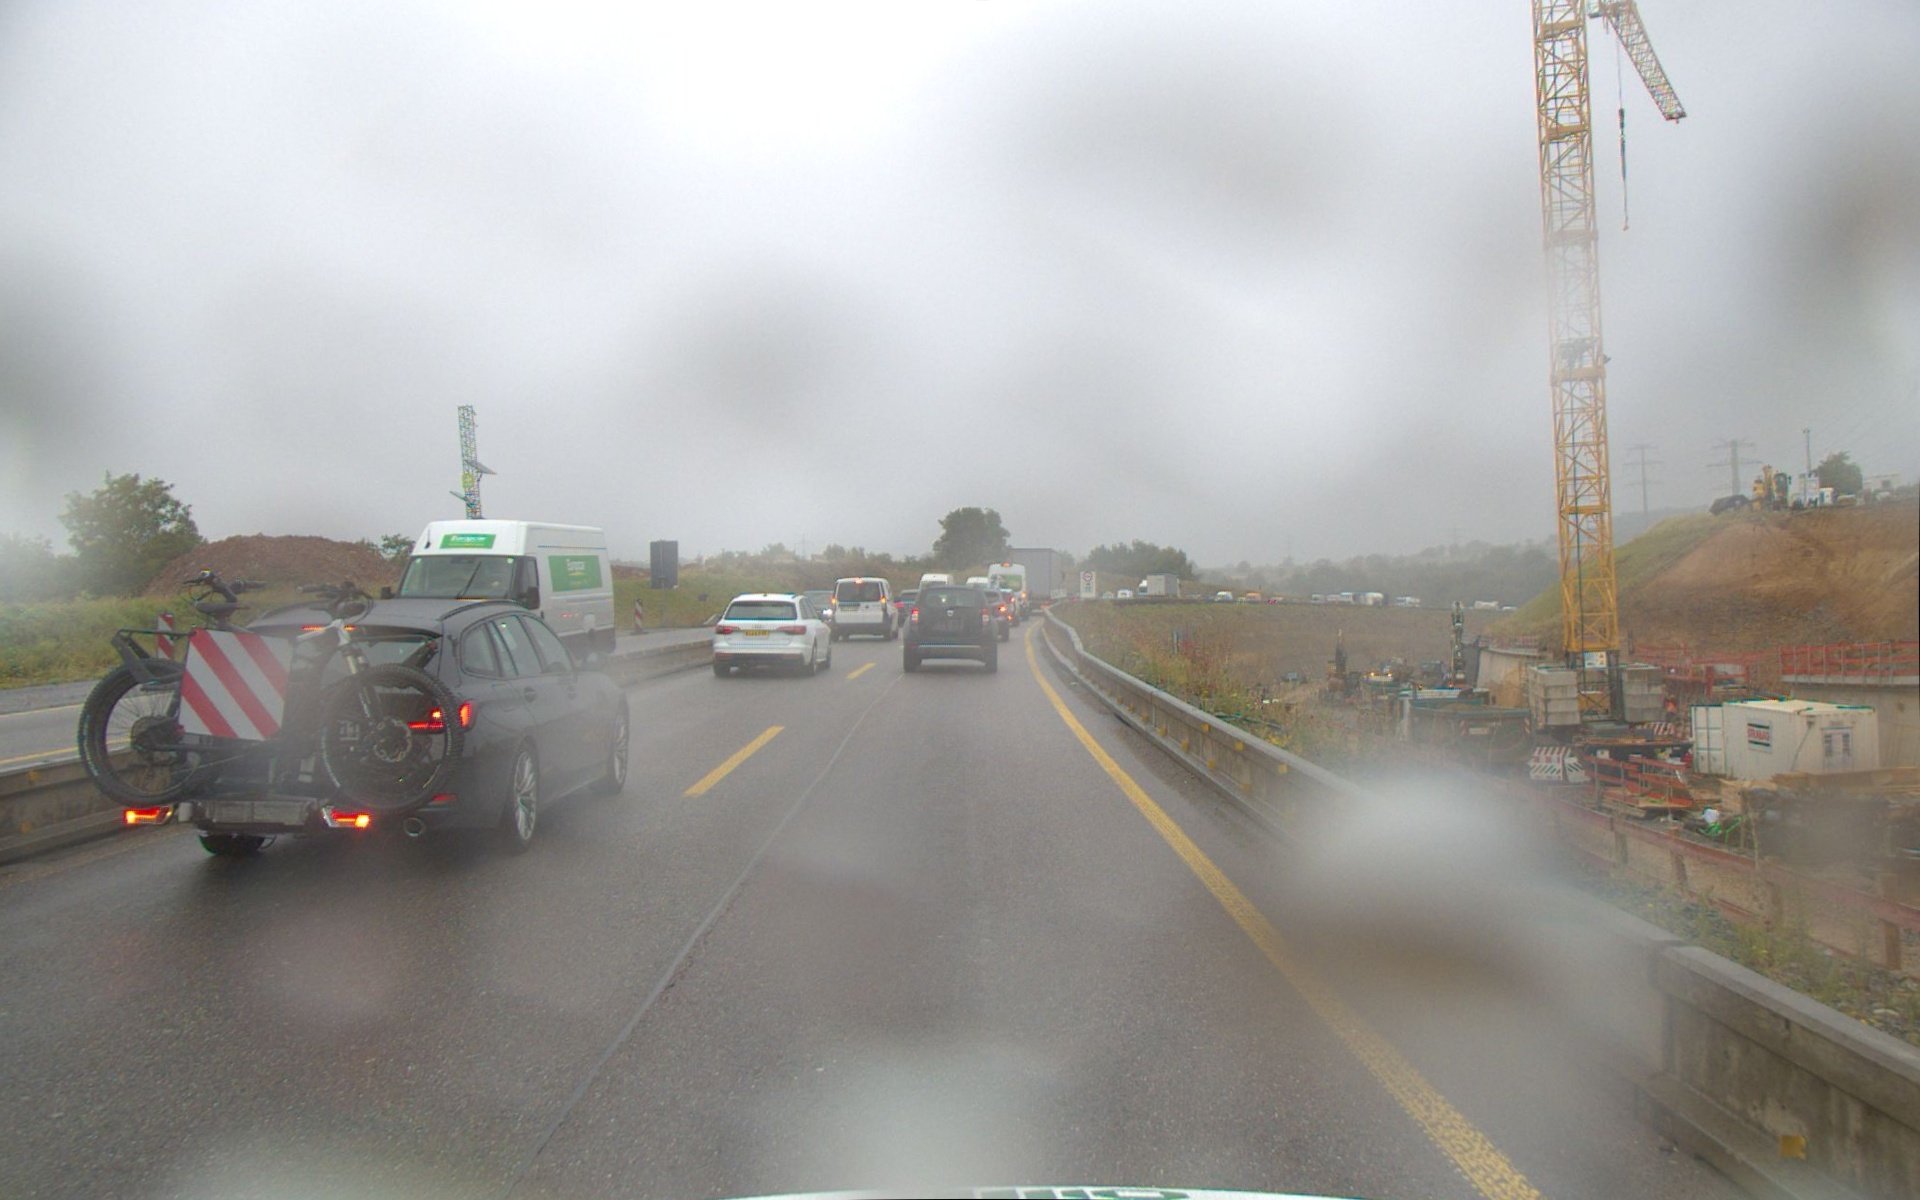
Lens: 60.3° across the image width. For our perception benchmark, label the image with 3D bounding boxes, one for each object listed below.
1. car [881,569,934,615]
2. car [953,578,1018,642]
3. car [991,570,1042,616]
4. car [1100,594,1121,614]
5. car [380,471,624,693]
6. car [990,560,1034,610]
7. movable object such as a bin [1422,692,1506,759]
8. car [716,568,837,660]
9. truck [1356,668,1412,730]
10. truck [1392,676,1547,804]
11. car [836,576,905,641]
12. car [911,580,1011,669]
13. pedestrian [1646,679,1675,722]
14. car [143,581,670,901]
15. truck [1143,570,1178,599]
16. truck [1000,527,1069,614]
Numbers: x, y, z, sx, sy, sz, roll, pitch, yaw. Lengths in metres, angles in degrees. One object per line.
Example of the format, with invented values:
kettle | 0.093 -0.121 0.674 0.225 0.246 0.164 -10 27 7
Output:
car | -2.178 -0.293 69.237 1.788 1.847 4.002 1 0 4
car | 0.809 0.305 49.786 1.788 1.847 4.001 1 0 3
car | 2.396 -0.268 69.391 1.787 1.847 4.003 1 0 6
car | 18.543 0.501 204.026 1.991 2.295 4.161 1 -1 13
car | -7.154 -0.270 26.813 1.953 3.098 7.171 1 0 0
car | 2.636 -0.730 83.621 1.787 2.480 4.161 1 -1 8
movable object such as a bin | 22.953 5.699 75.403 3.083 2.785 2.970 1 -1 4
car | -3.226 0.252 29.793 1.789 1.525 3.999 1 0 -1
truck | 27.522 6.363 107.601 2.671 3.552 9.072 1 0 9
truck | 16.962 4.549 55.707 2.643 3.565 8.949 1 0 1
car | -2.653 0.259 49.715 1.789 1.847 4.000 1 0 1
car | 0.083 0.471 32.482 1.788 1.619 4.001 1 0 2
pedestrian | 36.148 5.160 85.336 0.885 2.031 0.899 10 0 9
car | -3.250 0.672 11.065 1.699 1.488 5.629 0 2 -1
truck | 27.543 -2.143 226.781 3.399 3.780 8.423 -1 0 16
truck | 4.841 -1.747 105.044 3.468 5.166 10.449 1 0 7
